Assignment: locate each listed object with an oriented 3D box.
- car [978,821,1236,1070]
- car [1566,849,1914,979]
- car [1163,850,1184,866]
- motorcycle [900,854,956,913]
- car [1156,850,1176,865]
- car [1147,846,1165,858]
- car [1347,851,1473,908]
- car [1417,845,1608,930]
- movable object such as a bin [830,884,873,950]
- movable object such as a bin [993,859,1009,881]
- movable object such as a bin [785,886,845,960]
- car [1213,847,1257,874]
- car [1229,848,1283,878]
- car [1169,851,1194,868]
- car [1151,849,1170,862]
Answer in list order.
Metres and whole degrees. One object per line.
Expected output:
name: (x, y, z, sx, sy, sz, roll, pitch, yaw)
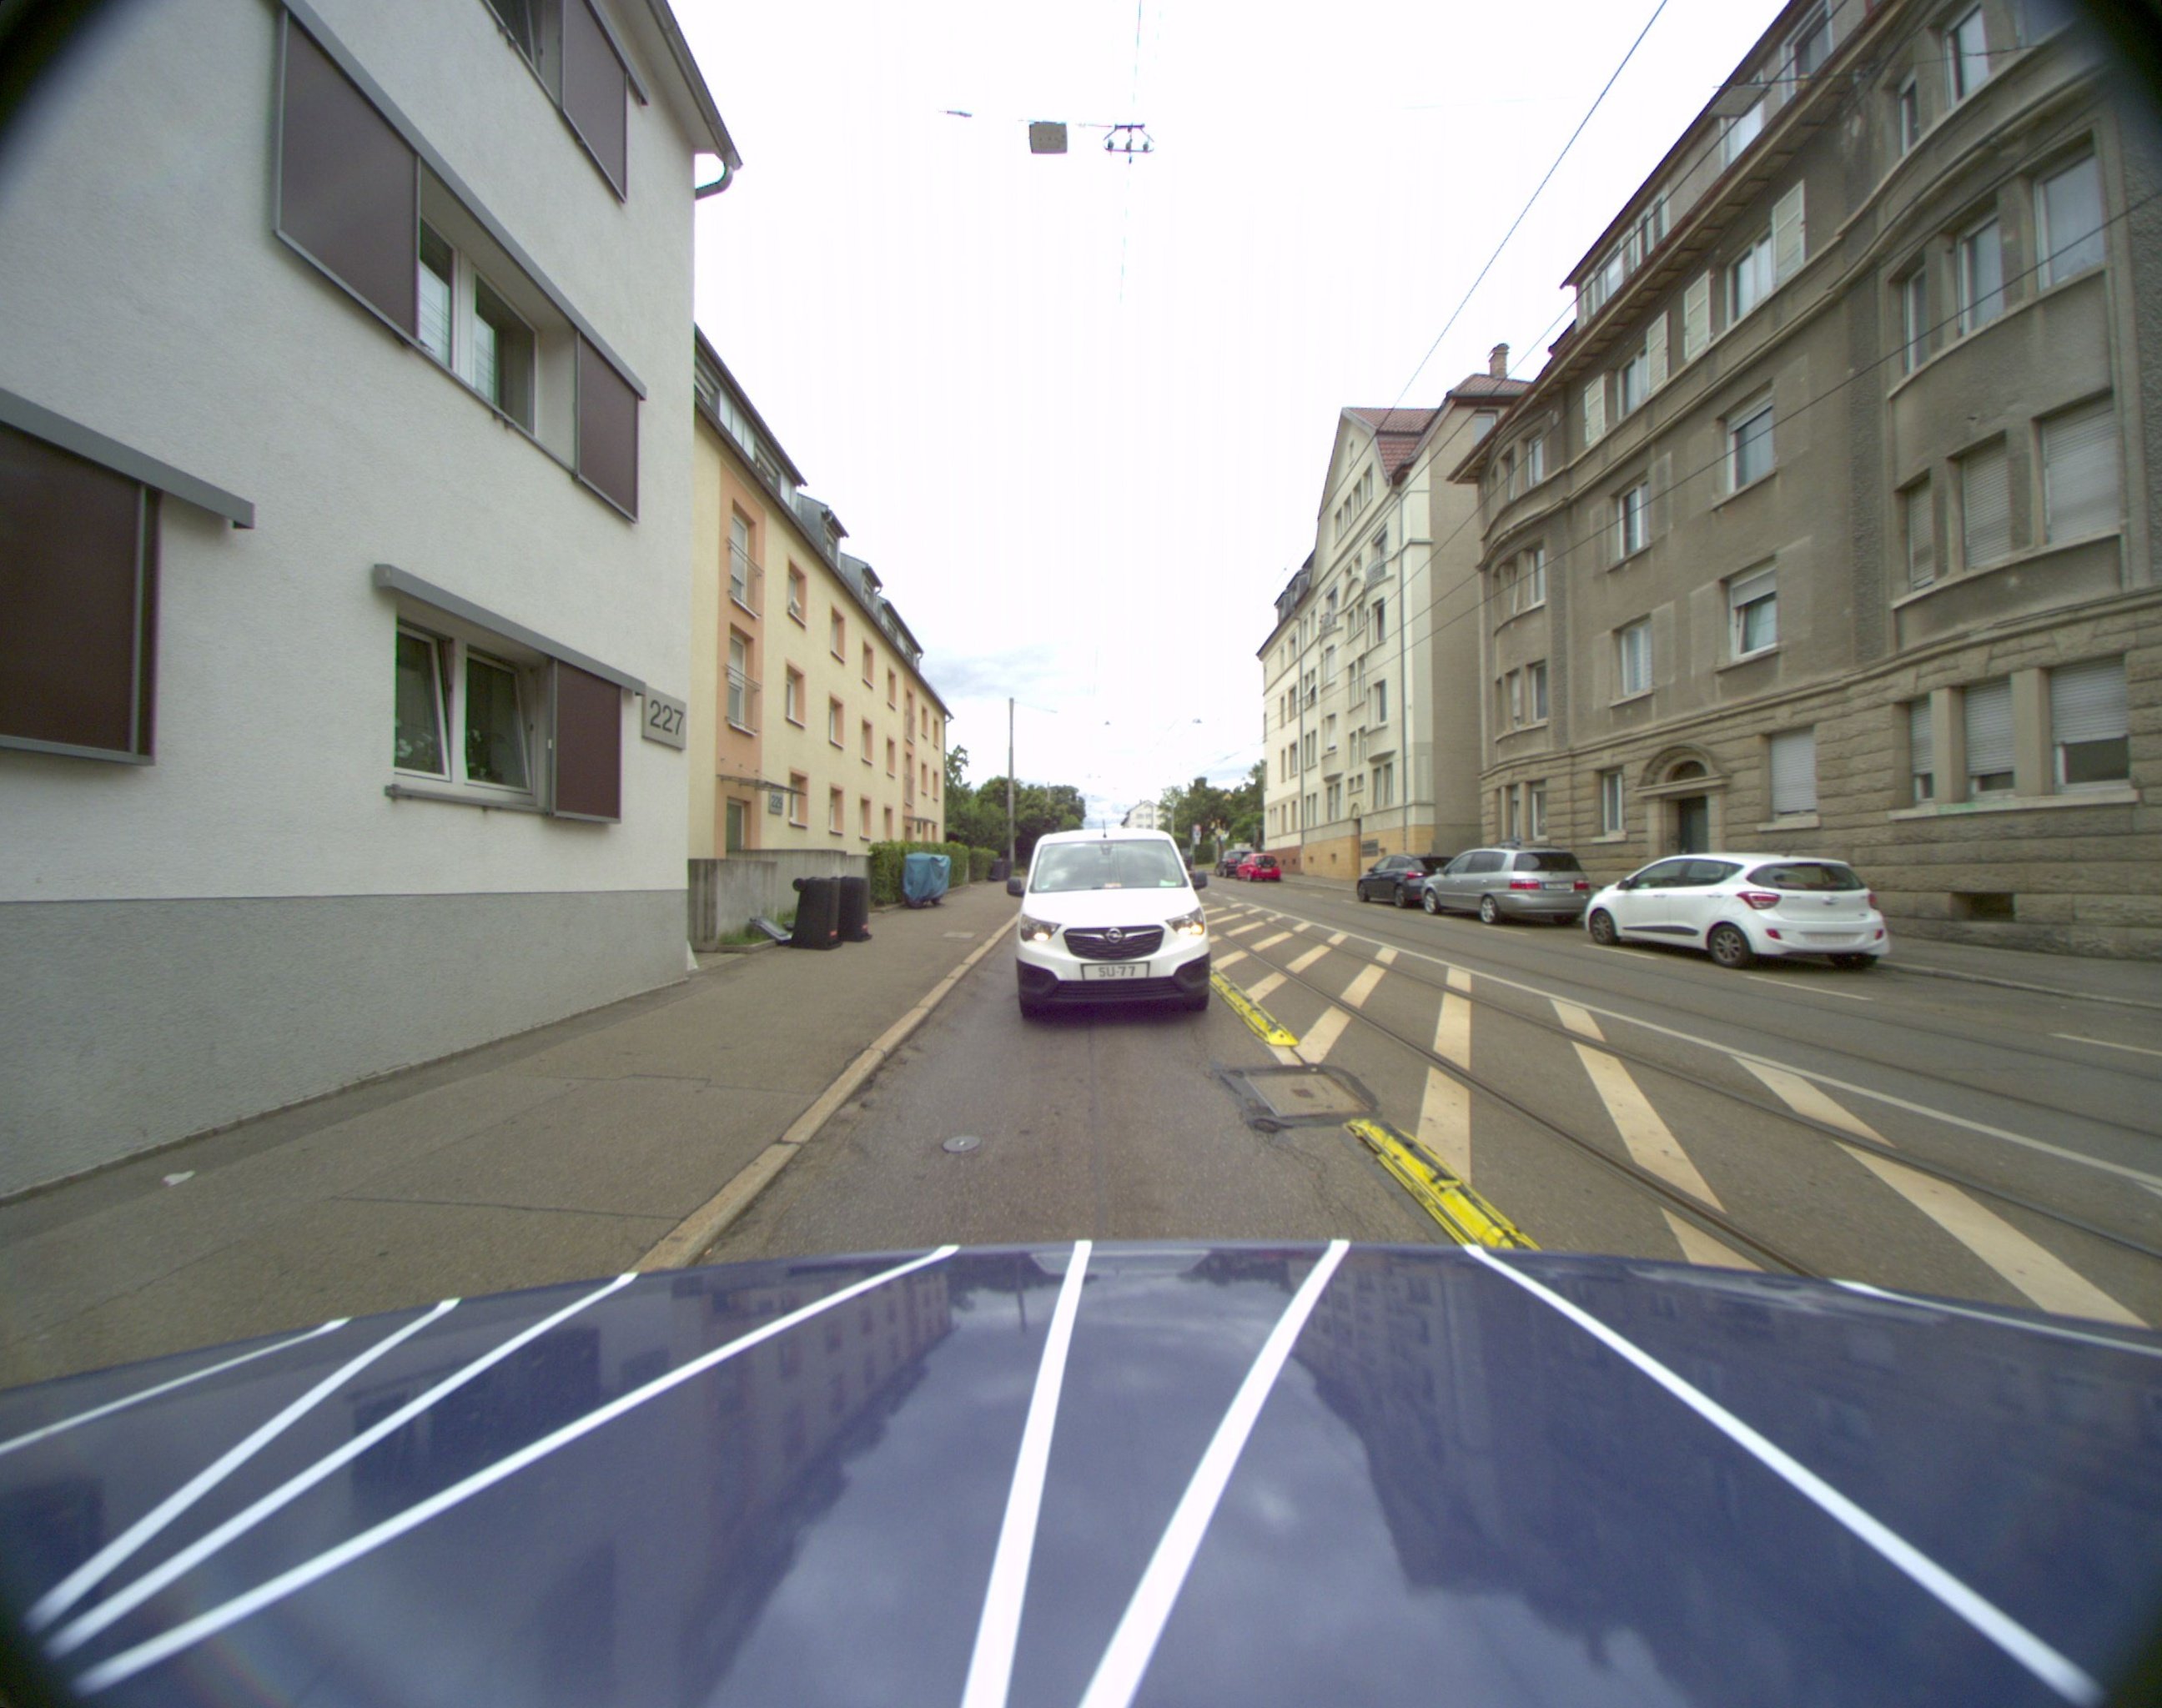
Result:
car: (0.229, 0.671, 8.110, 1.888, 1.828, 4.676, -2, 1, 1)
car: (9.060, 0.707, 10.953, 1.743, 1.502, 3.800, -1, 1, 1)
car: (9.366, 0.405, 77.210, 1.743, 1.517, 3.951, 1, 1, 1)
motorcycle: (-3.825, 0.699, 19.145, 0.731, 1.382, 1.937, 3, 1, 7)
car: (9.300, 0.346, 83.668, 1.743, 1.517, 3.951, 1, 1, -1)
car: (9.314, -0.248, 94.791, 1.743, 1.517, 3.951, 1, 1, -1)
car: (9.054, 0.636, 21.279, 1.743, 1.373, 4.044, -1, 1, -1)
car: (9.058, 0.612, 16.407, 1.743, 1.558, 4.142, -2, 1, -1)
movable object such as a bin: (-3.636, 0.994, 12.070, 0.565, 1.003, 0.498, 2, 0, -8)
movable object such as a bin: (-3.826, 0.762, 36.315, 0.669, 1.053, 0.539, -2, 0, 1)
movable object such as a bin: (-3.864, 0.987, 11.071, 0.637, 1.003, 0.602, 2, 0, 1)
car: (9.166, 0.353, 45.454, 1.743, 1.517, 3.951, 1, 1, -1)
car: (9.270, 0.444, 40.606, 1.743, 1.450, 3.950, 1, 1, -4)
car: (9.397, 0.461, 71.009, 1.743, 1.517, 3.951, 1, 1, -1)
car: (9.288, 0.159, 88.892, 1.743, 1.517, 3.951, 1, 1, -1)
